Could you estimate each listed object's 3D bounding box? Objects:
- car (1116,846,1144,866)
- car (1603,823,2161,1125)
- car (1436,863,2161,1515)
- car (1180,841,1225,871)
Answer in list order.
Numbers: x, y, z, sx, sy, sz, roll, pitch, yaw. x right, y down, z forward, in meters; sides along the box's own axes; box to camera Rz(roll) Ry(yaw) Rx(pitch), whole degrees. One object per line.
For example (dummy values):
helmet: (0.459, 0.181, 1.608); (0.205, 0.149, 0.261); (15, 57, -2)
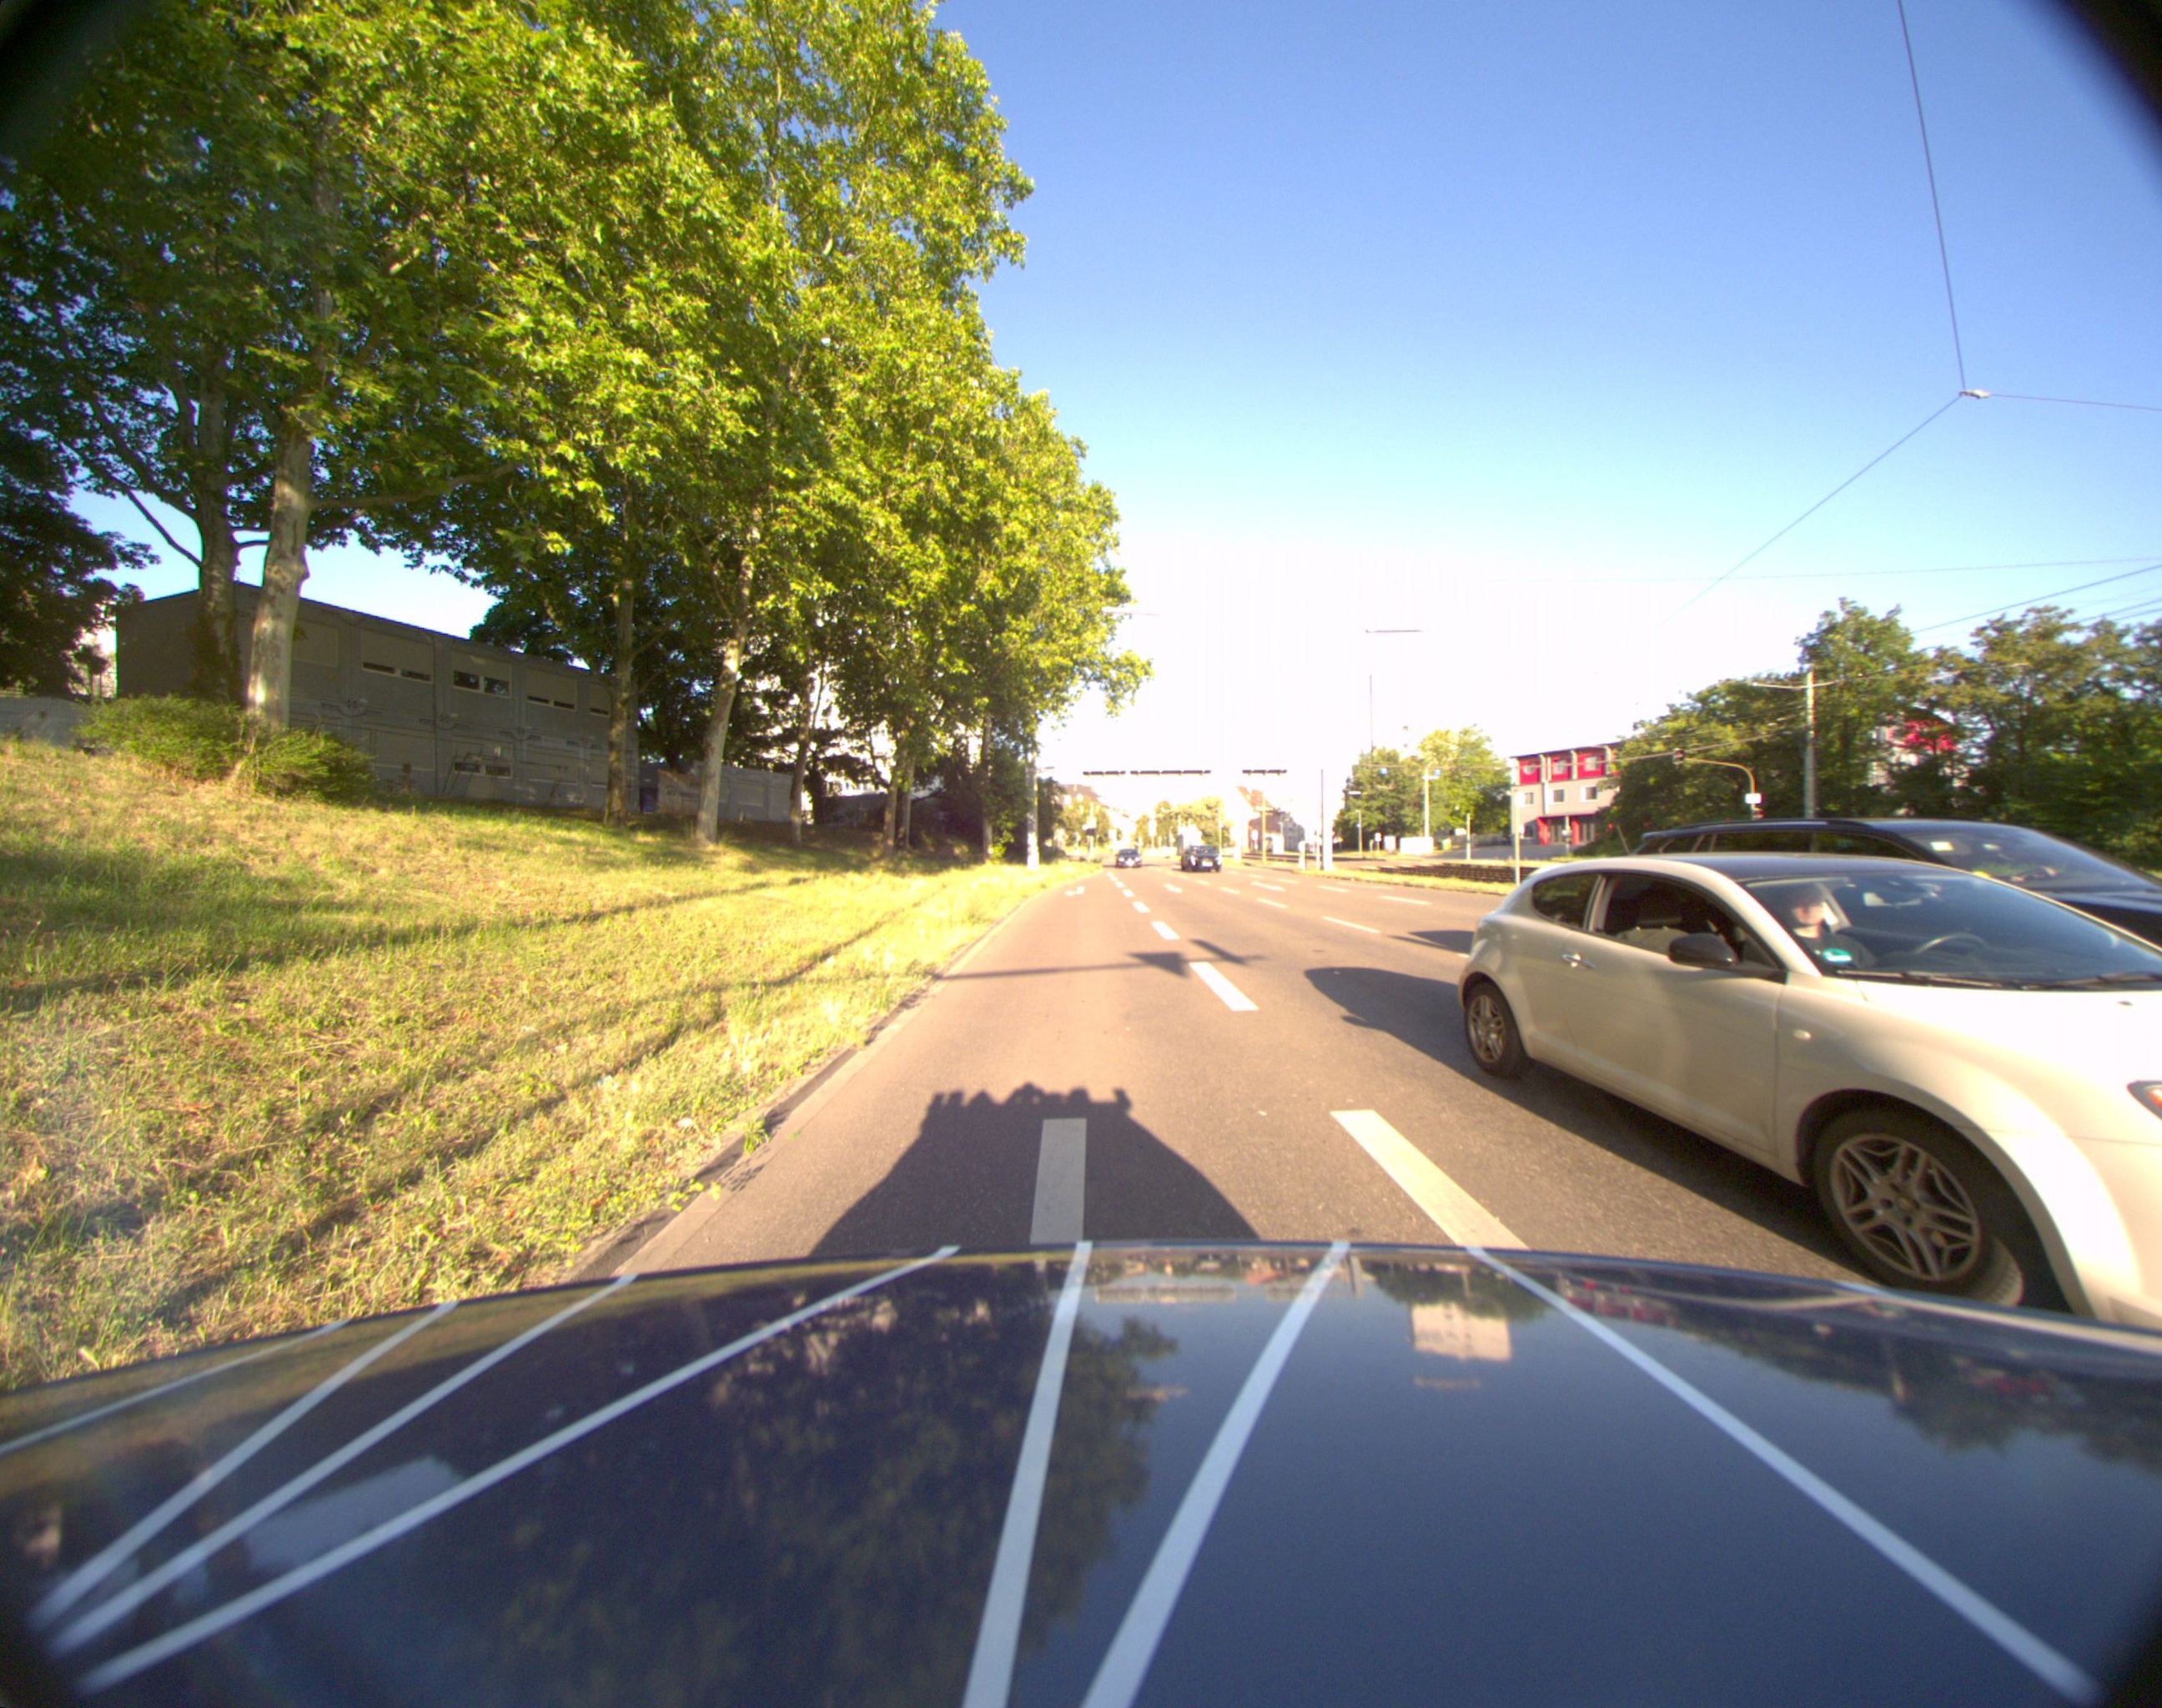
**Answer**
car: (3.574, 0.122, 55.996); (1.741, 1.429, 3.999); (-2, 1, -1)
car: (6.733, 0.636, 5.961); (1.819, 1.670, 4.621); (-2, 0, -5)
car: (3.446, 0.828, 3.465); (1.741, 1.496, 3.999); (-1, 0, -1)
car: (7.136, 0.094, 45.021); (1.905, 1.652, 4.276); (-1, 0, -1)
